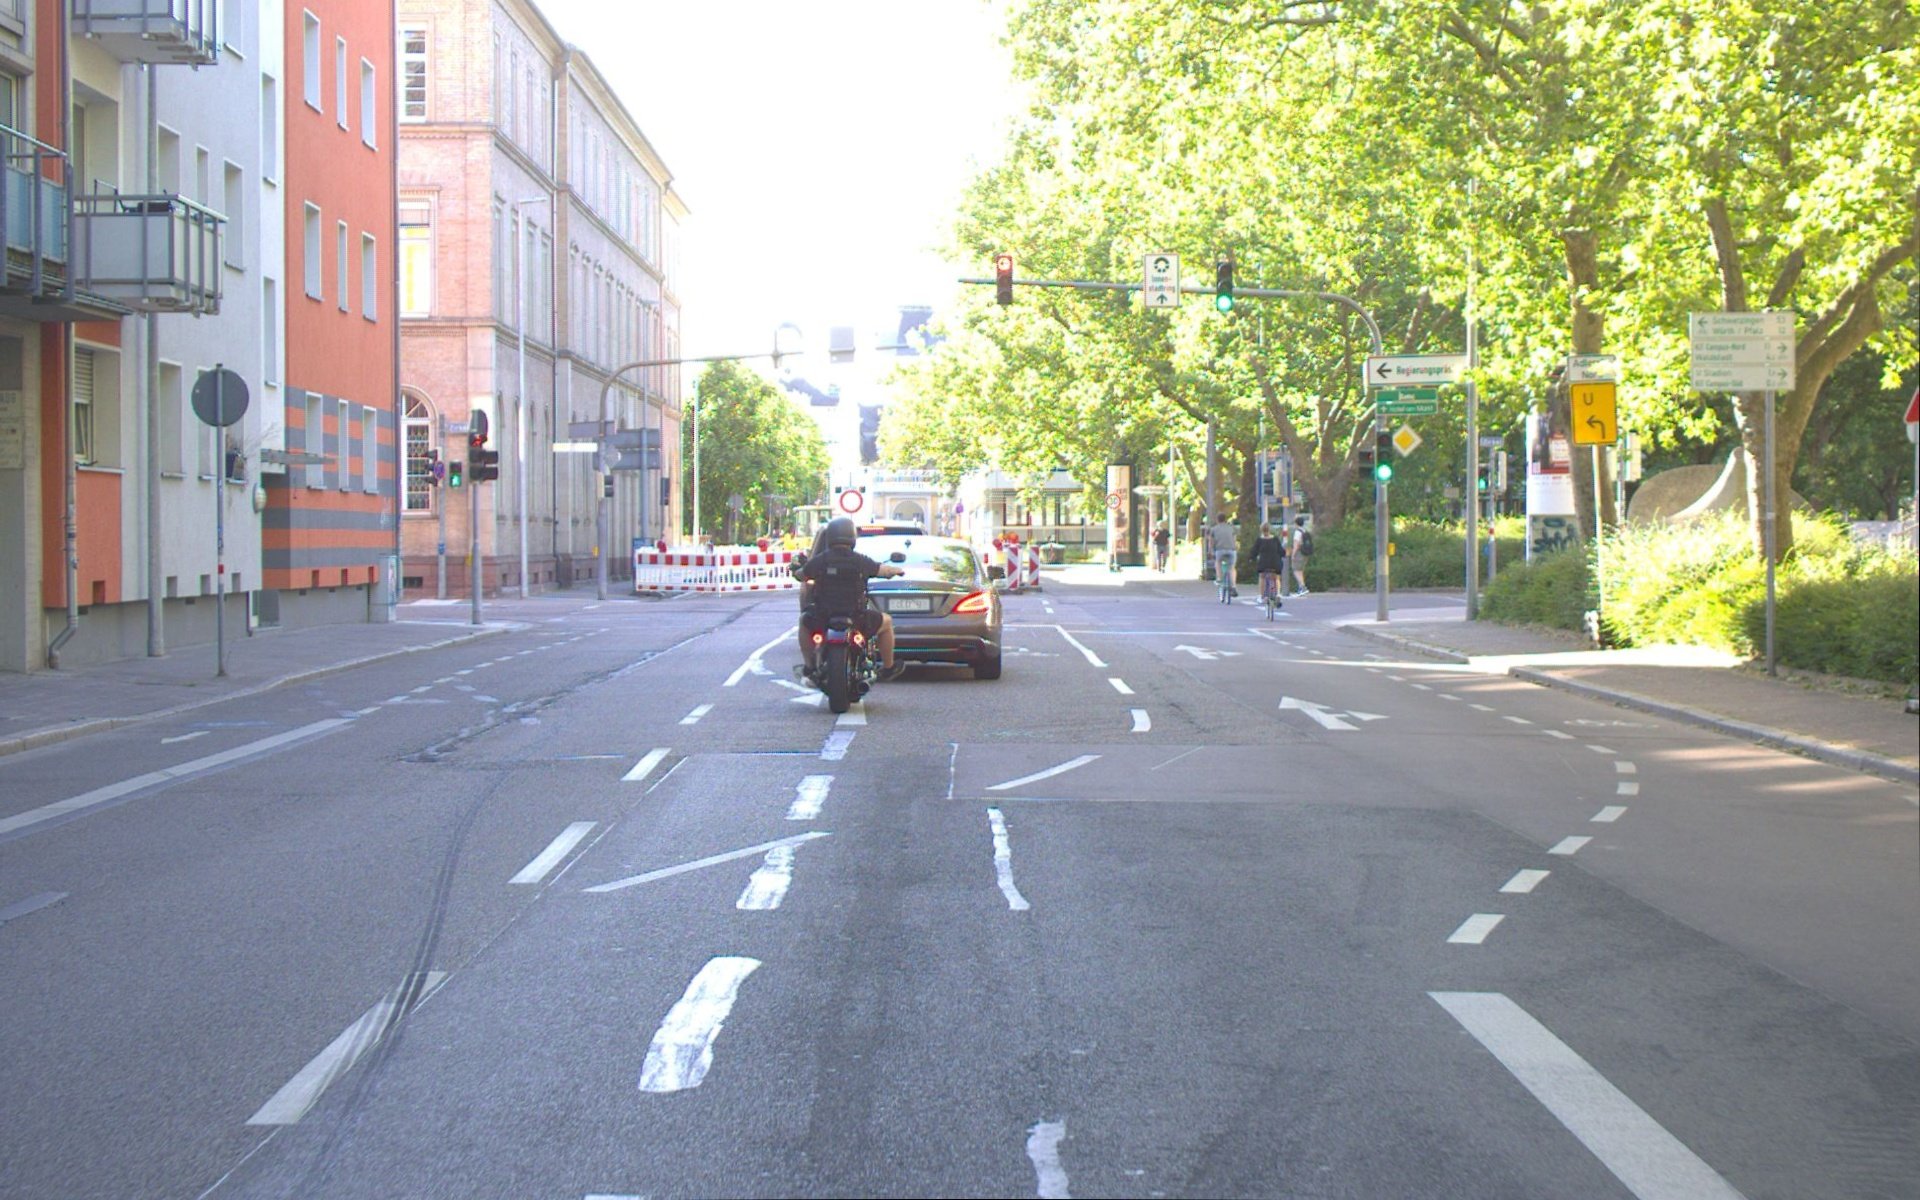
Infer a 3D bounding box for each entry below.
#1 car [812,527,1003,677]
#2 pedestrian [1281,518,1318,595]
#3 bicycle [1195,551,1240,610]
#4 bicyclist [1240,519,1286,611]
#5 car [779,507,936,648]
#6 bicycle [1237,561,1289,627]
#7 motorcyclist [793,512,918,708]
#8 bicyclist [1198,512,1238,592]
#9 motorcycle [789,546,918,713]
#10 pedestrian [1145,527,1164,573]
[{"bbox_3d":[-0.535,-0.021,34.879,1.828,1.415,3.815,0,1,-1],"label":"car"},{"bbox_3d":[7.832,-1.010,79.308,0.570,1.768,0.626,1,1,-27],"label":"pedestrian"},{"bbox_3d":[5.006,-0.387,67.041,0.656,1.107,2.186,1,1,-1],"label":"bicycle"},{"bbox_3d":[5.092,-0.585,57.778,0.656,1.525,0.852,1,1,-1],"label":"bicyclist"},{"bbox_3d":[-1.313,-0.296,42.690,1.630,1.645,3.851,1,1,-6],"label":"car"},{"bbox_3d":[5.090,-0.105,57.801,0.656,1.066,1.927,1,1,-1],"label":"bicycle"},{"bbox_3d":[-0.862,0.066,28.664,1.012,1.596,1.406,0,1,-1],"label":"motorcyclist"},{"bbox_3d":[5.019,-0.931,66.942,0.656,1.525,0.906,1,1,-1],"label":"bicyclist"},{"bbox_3d":[-0.864,0.210,28.581,1.012,1.302,2.673,0,1,-1],"label":"motorcycle"},{"bbox_3d":[6.729,-1.742,118.981,0.592,1.573,0.527,1,1,0],"label":"pedestrian"}]
